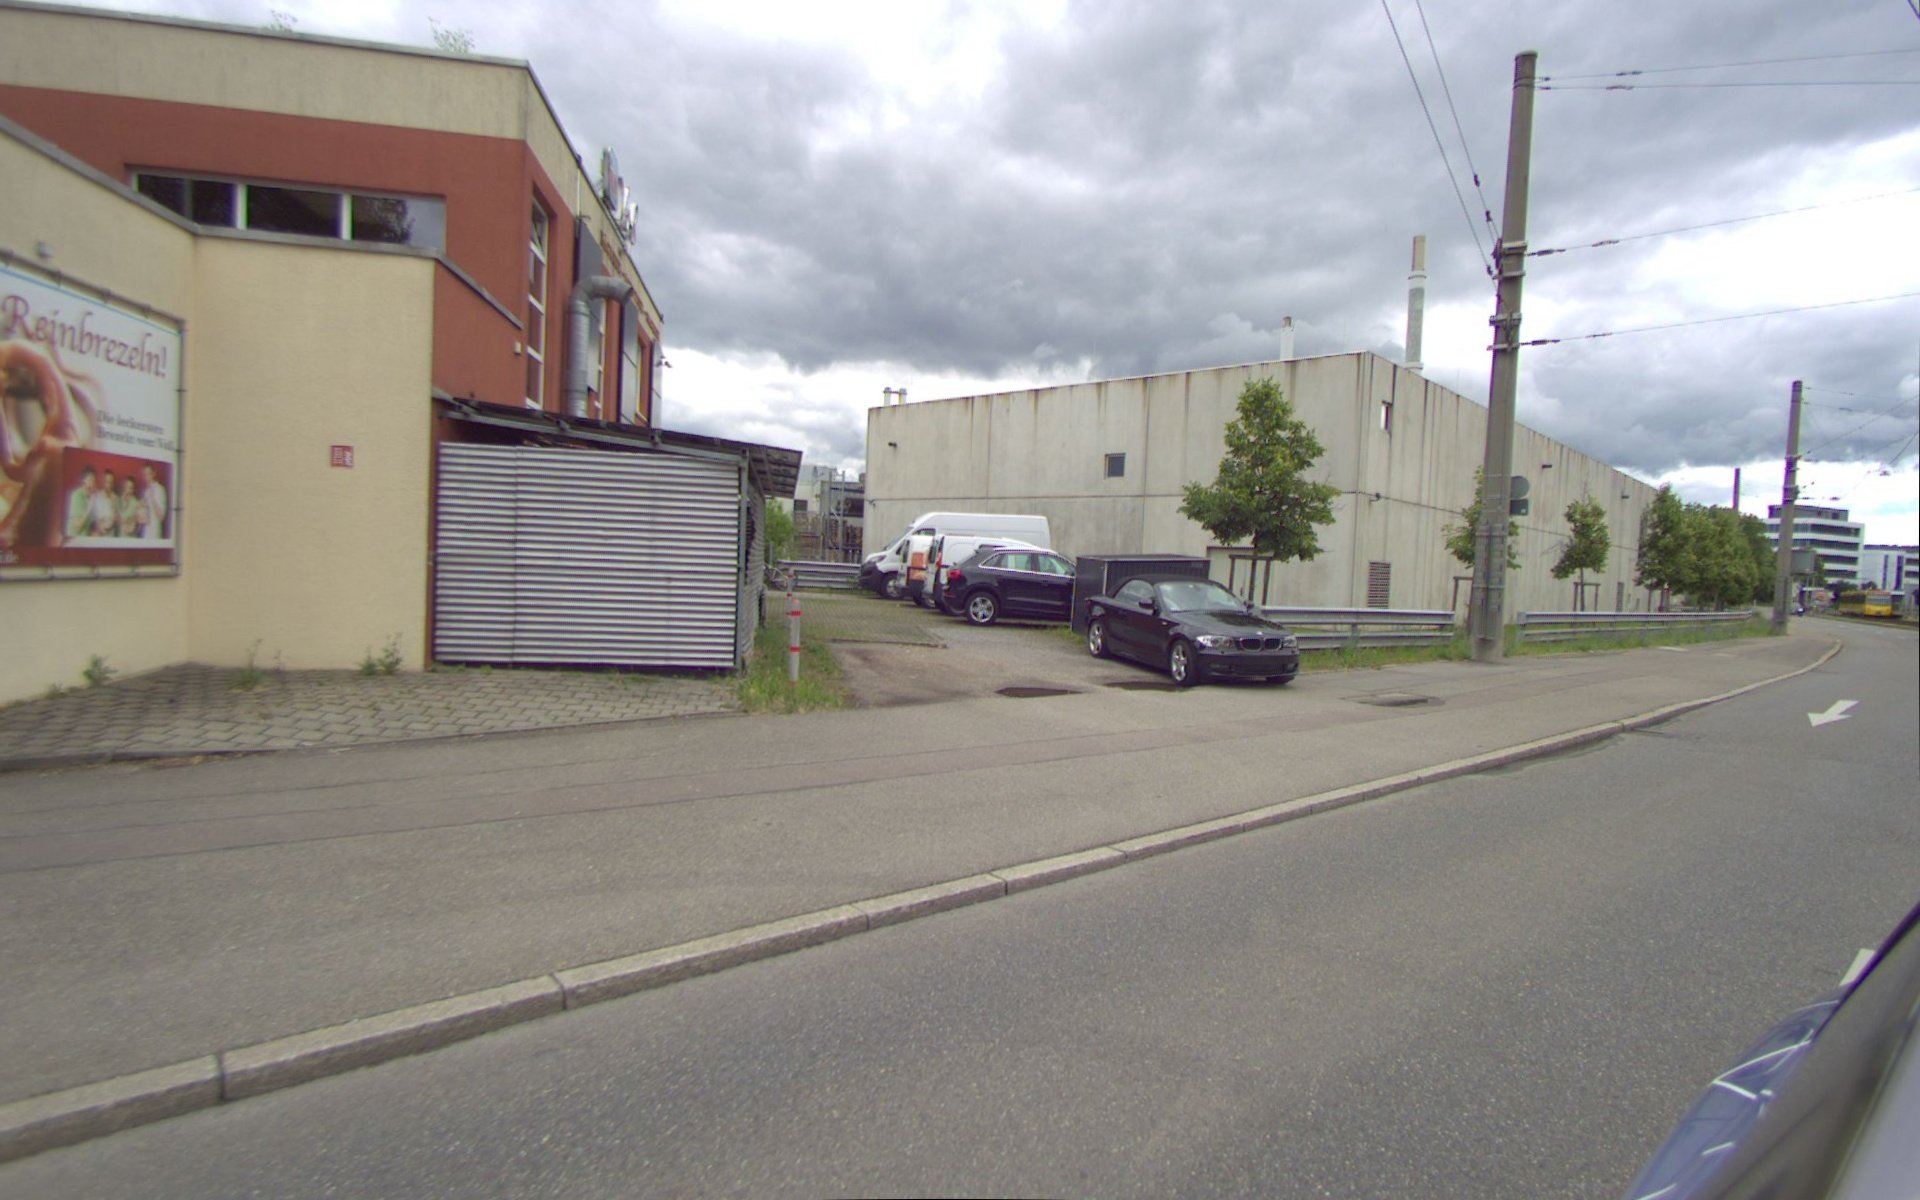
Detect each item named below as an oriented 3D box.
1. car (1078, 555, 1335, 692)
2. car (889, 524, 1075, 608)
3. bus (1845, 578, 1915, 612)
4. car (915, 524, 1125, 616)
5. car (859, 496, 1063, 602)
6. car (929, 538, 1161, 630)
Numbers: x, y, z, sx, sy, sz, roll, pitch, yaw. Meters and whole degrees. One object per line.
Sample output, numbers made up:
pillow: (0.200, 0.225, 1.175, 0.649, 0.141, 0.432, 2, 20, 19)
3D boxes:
car: (3.405, 0.236, 14.953, 1.726, 1.459, 4.248, 2, 5, -16)
car: (0.505, -0.860, 25.657, 4.348, 1.854, 1.822, 2, 2, -11)
bus: (120.090, -0.748, 132.310, 3.523, 4.001, 10.409, 1, 2, 24)
car: (1.342, -0.694, 23.416, 4.447, 1.854, 1.865, 2, 2, -11)
car: (-0.040, -1.391, 28.354, 5.311, 2.621, 2.100, 2, 2, -10)
car: (1.606, -0.370, 20.666, 4.434, 1.566, 2.163, 2, 4, -1)
